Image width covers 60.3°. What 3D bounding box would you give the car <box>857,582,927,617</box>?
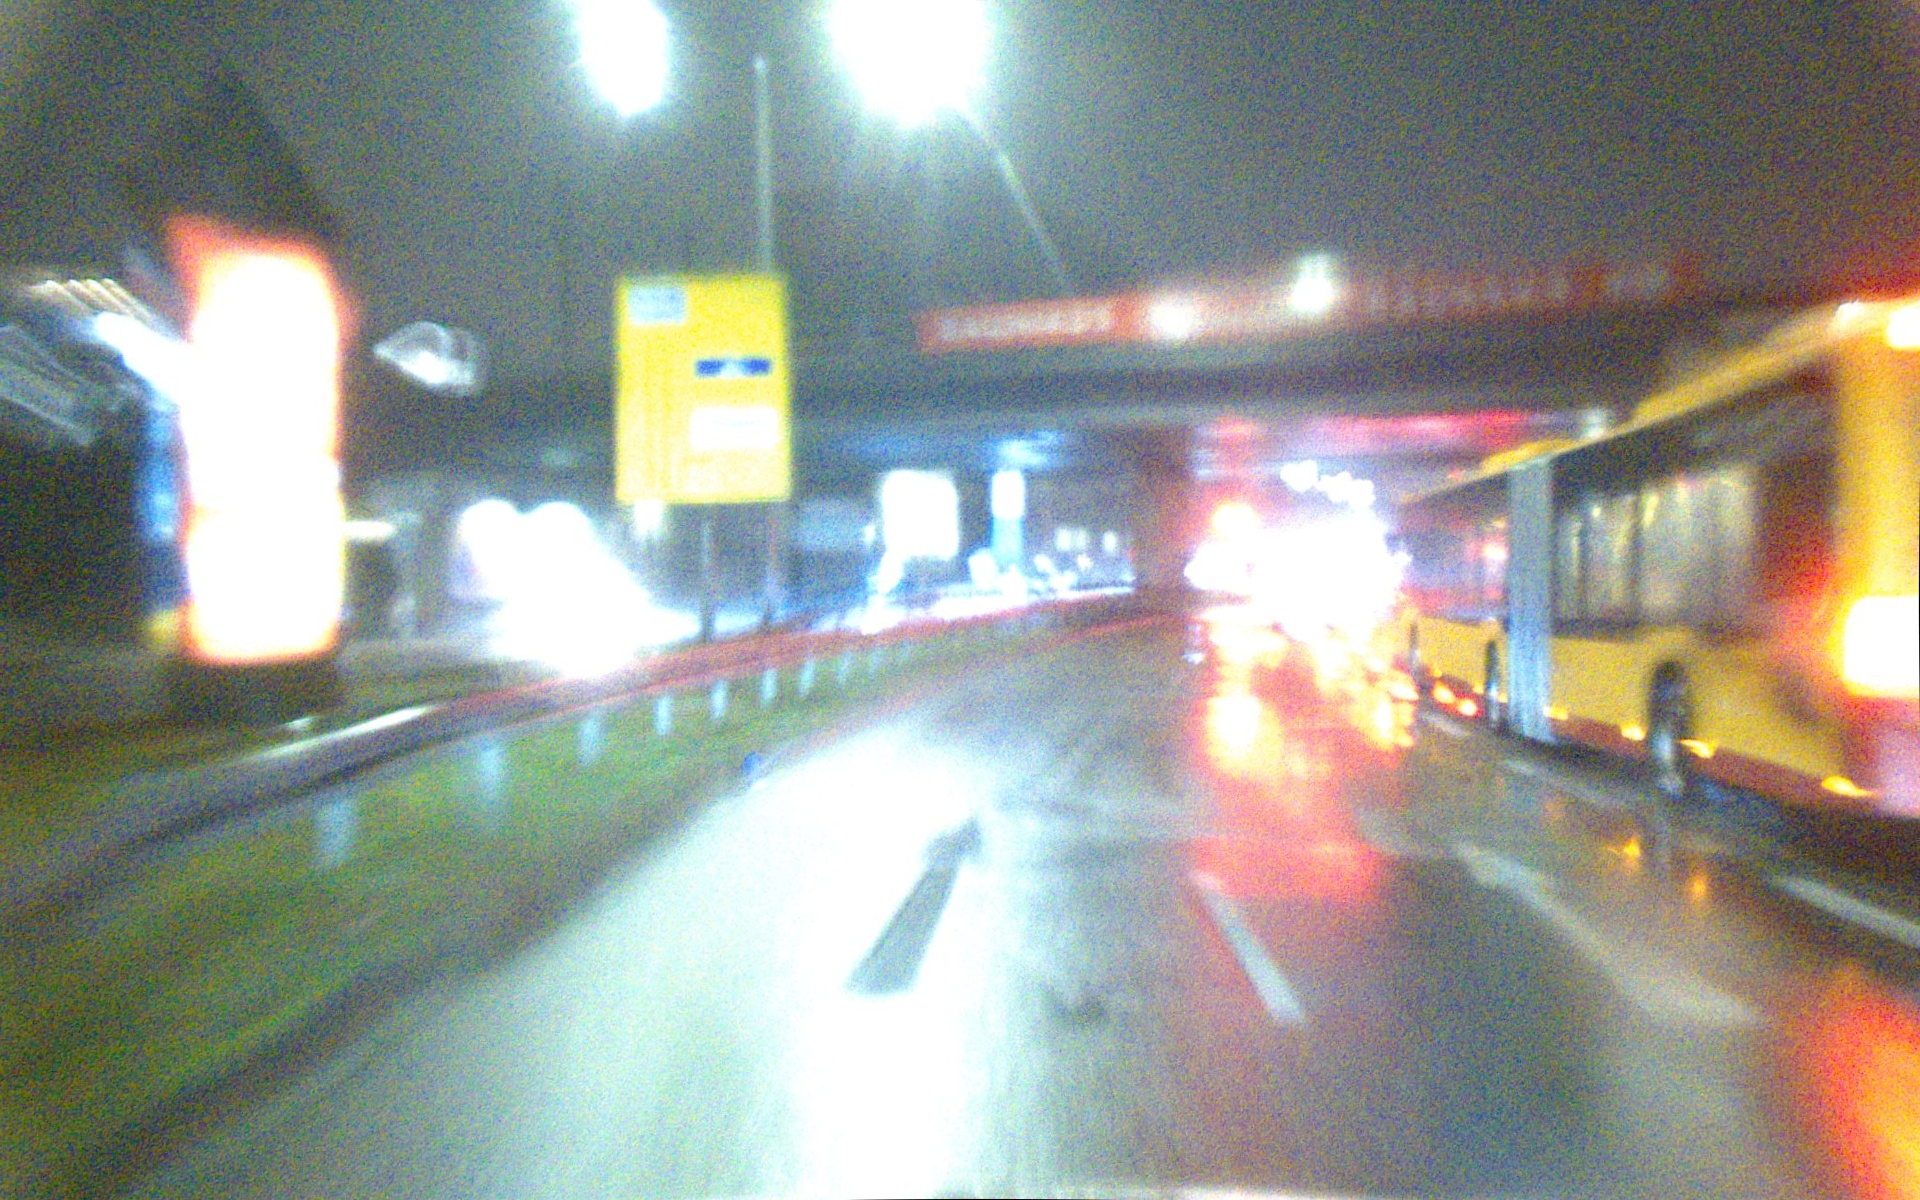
[{"bbox_3d":[-2.641,-0.056,65.321,1.815,1.311,4.135,1,1,12],"label":"car"}]

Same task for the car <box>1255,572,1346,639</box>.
[{"bbox_3d":[9.315,0.115,45.054,1.751,1.713,4.000,1,1,22],"label":"car"}]

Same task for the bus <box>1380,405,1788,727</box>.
[{"bbox_3d":[7.518,-0.396,21.462,2.978,3.268,9.058,0,1,8],"label":"bus"}]

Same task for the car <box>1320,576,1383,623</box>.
[{"bbox_3d":[14.839,-0.015,62.598,1.751,1.713,4.000,0,0,22],"label":"car"}]

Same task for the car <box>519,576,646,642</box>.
[{"bbox_3d":[-8.810,0.189,38.910,1.533,1.452,3.956,1,0,9],"label":"car"}]

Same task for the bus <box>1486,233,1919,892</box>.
[{"bbox_3d":[6.574,-0.242,12.438,2.979,3.268,9.056,0,1,4],"label":"bus"}]
